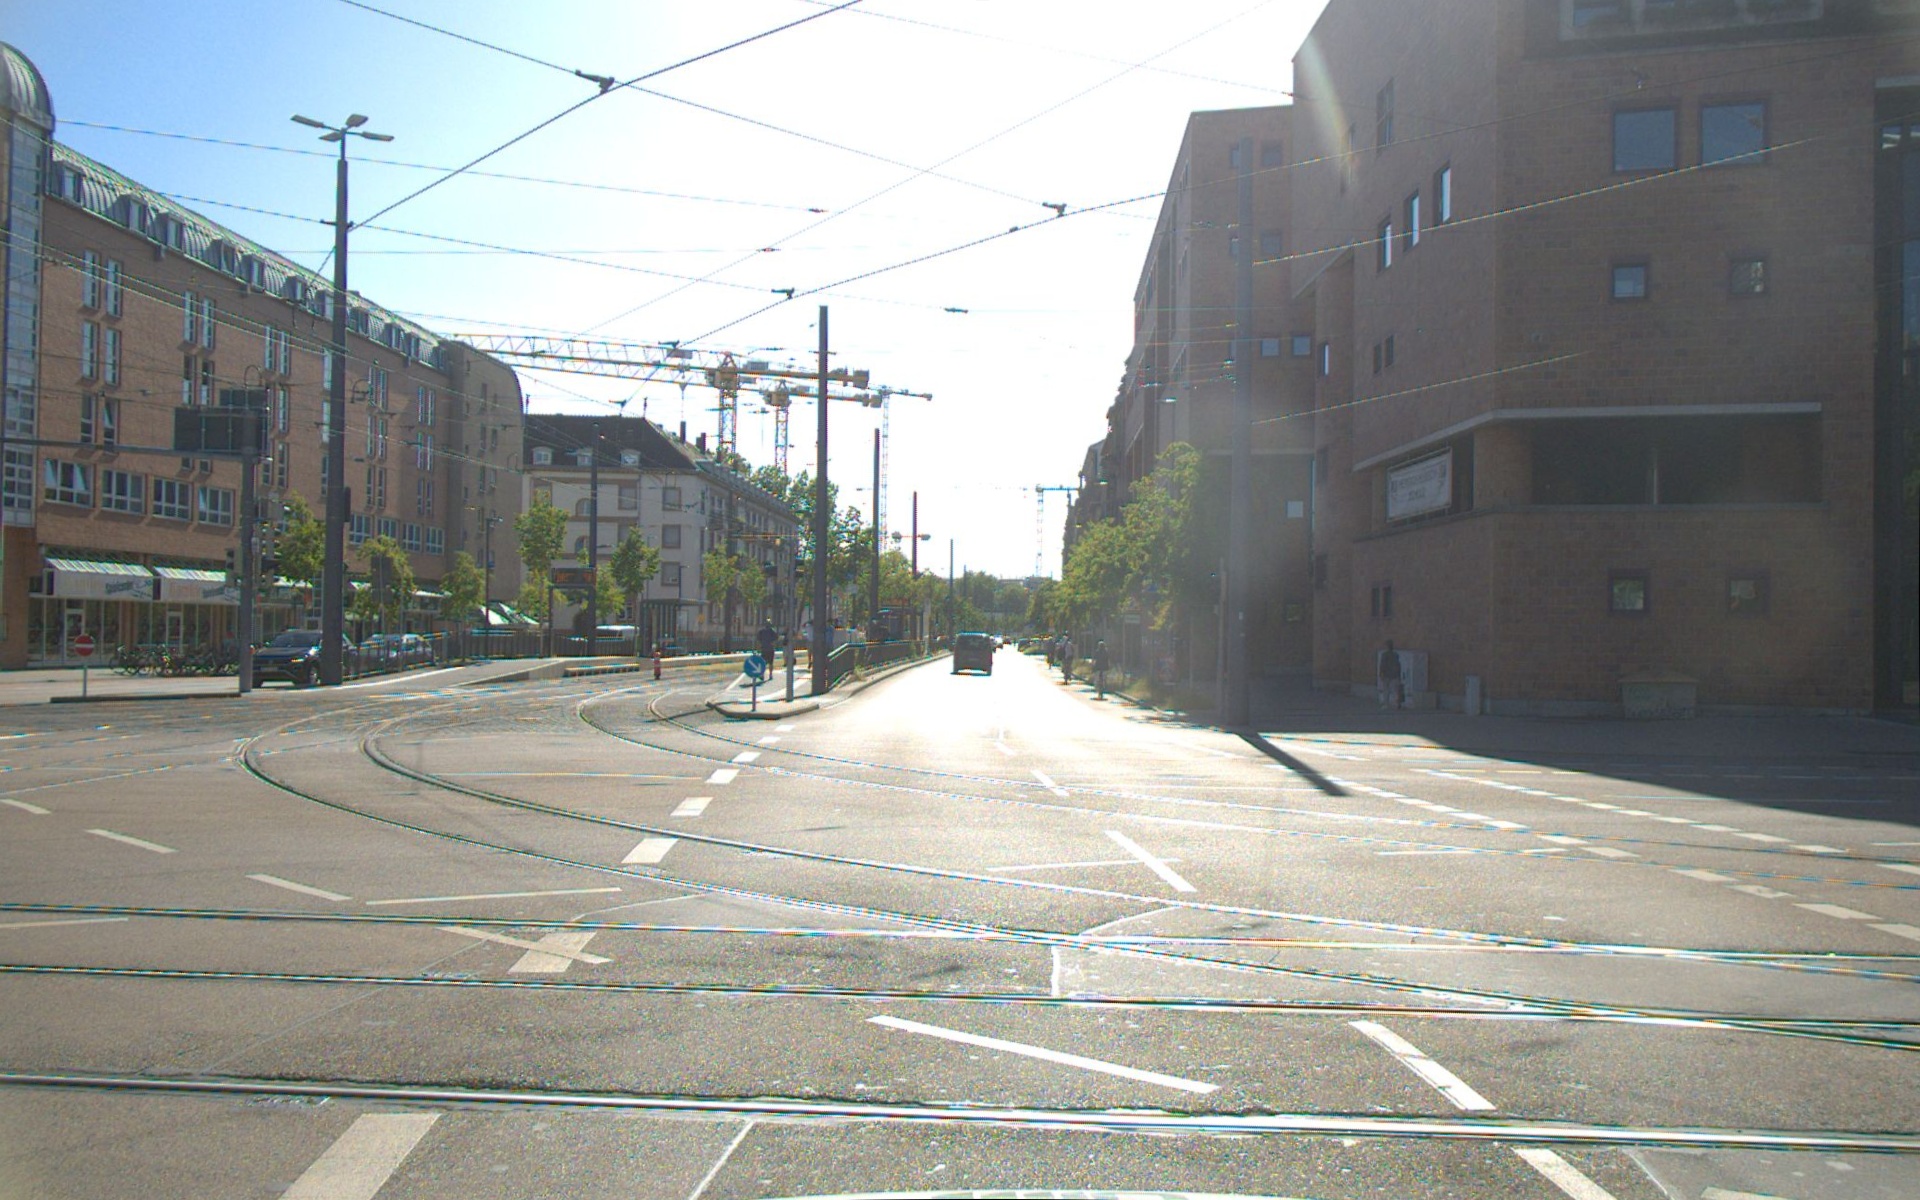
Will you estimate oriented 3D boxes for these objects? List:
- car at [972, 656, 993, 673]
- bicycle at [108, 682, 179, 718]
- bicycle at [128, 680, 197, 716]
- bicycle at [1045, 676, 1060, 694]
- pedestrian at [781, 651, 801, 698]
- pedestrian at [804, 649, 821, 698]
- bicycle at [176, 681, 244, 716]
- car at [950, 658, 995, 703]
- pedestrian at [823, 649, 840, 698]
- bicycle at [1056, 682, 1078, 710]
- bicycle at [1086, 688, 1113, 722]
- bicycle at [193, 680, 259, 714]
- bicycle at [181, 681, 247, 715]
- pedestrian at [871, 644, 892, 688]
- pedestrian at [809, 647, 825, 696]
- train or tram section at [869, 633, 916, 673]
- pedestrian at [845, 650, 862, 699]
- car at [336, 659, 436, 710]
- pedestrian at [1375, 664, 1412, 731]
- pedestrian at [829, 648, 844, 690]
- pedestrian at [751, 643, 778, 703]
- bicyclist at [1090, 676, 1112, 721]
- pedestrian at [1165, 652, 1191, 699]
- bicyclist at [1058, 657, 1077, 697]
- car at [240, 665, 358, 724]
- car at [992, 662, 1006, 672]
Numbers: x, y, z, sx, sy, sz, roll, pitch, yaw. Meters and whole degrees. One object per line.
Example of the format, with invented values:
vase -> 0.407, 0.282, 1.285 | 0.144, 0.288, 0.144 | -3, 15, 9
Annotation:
car -> 2.271, 6.541, 167.578 | 1.953, 1.758, 3.998 | 0, -2, -1
bicycle -> -30.879, 3.781, 62.538 | 2.431, 1.333, 0.734 | 0, -2, 11
bicycle -> -30.602, 3.750, 63.469 | 2.431, 1.333, 0.734 | 0, -2, 11
bicycle -> 5.305, 4.838, 94.729 | 0.653, 1.003, 2.585 | 1, -2, -1
pedestrian -> -5.855, 2.580, 57.248 | 0.588, 1.594, 0.913 | 0, -2, -1
pedestrian -> -5.058, 2.514, 56.745 | 0.500, 1.684, 0.761 | 0, -3, -1
bicycle -> -29.652, 3.889, 65.402 | 2.431, 1.333, 0.734 | 0, -2, 11
car -> 0.541, 3.630, 74.939 | 1.953, 1.982, 3.999 | 0, -2, -1
pedestrian -> -4.435, 2.536, 57.028 | 0.527, 1.684, 0.896 | 0, -2, -1
bicycle -> 4.157, 3.727, 64.356 | 0.653, 1.003, 2.585 | 1, -2, -1
bicycle -> 4.289, 3.228, 51.019 | 0.591, 1.003, 2.314 | 1, -2, -1
bicycle -> -29.943, 3.957, 67.471 | 2.431, 1.333, 0.734 | 0, -2, 11
bicycle -> -30.030, 3.930, 66.569 | 2.431, 1.333, 0.734 | 0, -2, 11
pedestrian -> -3.159, 2.675, 66.638 | 0.705, 1.766, 0.599 | 1, -3, -18
pedestrian -> -5.293, 2.641, 61.299 | 0.527, 1.805, 0.633 | 0, -3, -1
train or tram section -> -5.433, 4.318, 134.642 | 2.277, 3.056, 13.164 | 1, -2, 4
pedestrian -> -3.682, 2.556, 57.089 | 0.527, 1.684, 0.706 | 0, -3, -1
car -> -18.232, 2.662, 52.704 | 1.576, 1.422, 4.227 | -4, -2, 1
pedestrian -> 10.455, 2.353, 39.887 | 0.605, 1.591, 0.986 | 0, -3, -1
pedestrian -> -4.926, 2.752, 65.974 | 0.527, 1.684, 0.633 | 0, -3, -1
pedestrian -> -5.607, 2.089, 47.474 | 0.602, 1.698, 0.864 | -2, -2, -1
bicyclist -> 4.297, 2.996, 50.474 | 0.580, 1.359, 0.933 | 1, -2, -1
pedestrian -> 8.192, 2.837, 62.211 | 0.862, 1.747, 0.931 | 0, -2, -1
bicyclist -> 4.169, 2.987, 64.219 | 0.653, 1.554, 0.706 | 1, -3, -1
car -> -18.294, 2.596, 45.964 | 1.576, 1.422, 3.919 | -4, -2, 1
car -> 5.417, 9.297, 229.995 | 1.952, 1.445, 4.000 | 0, -2, 1
